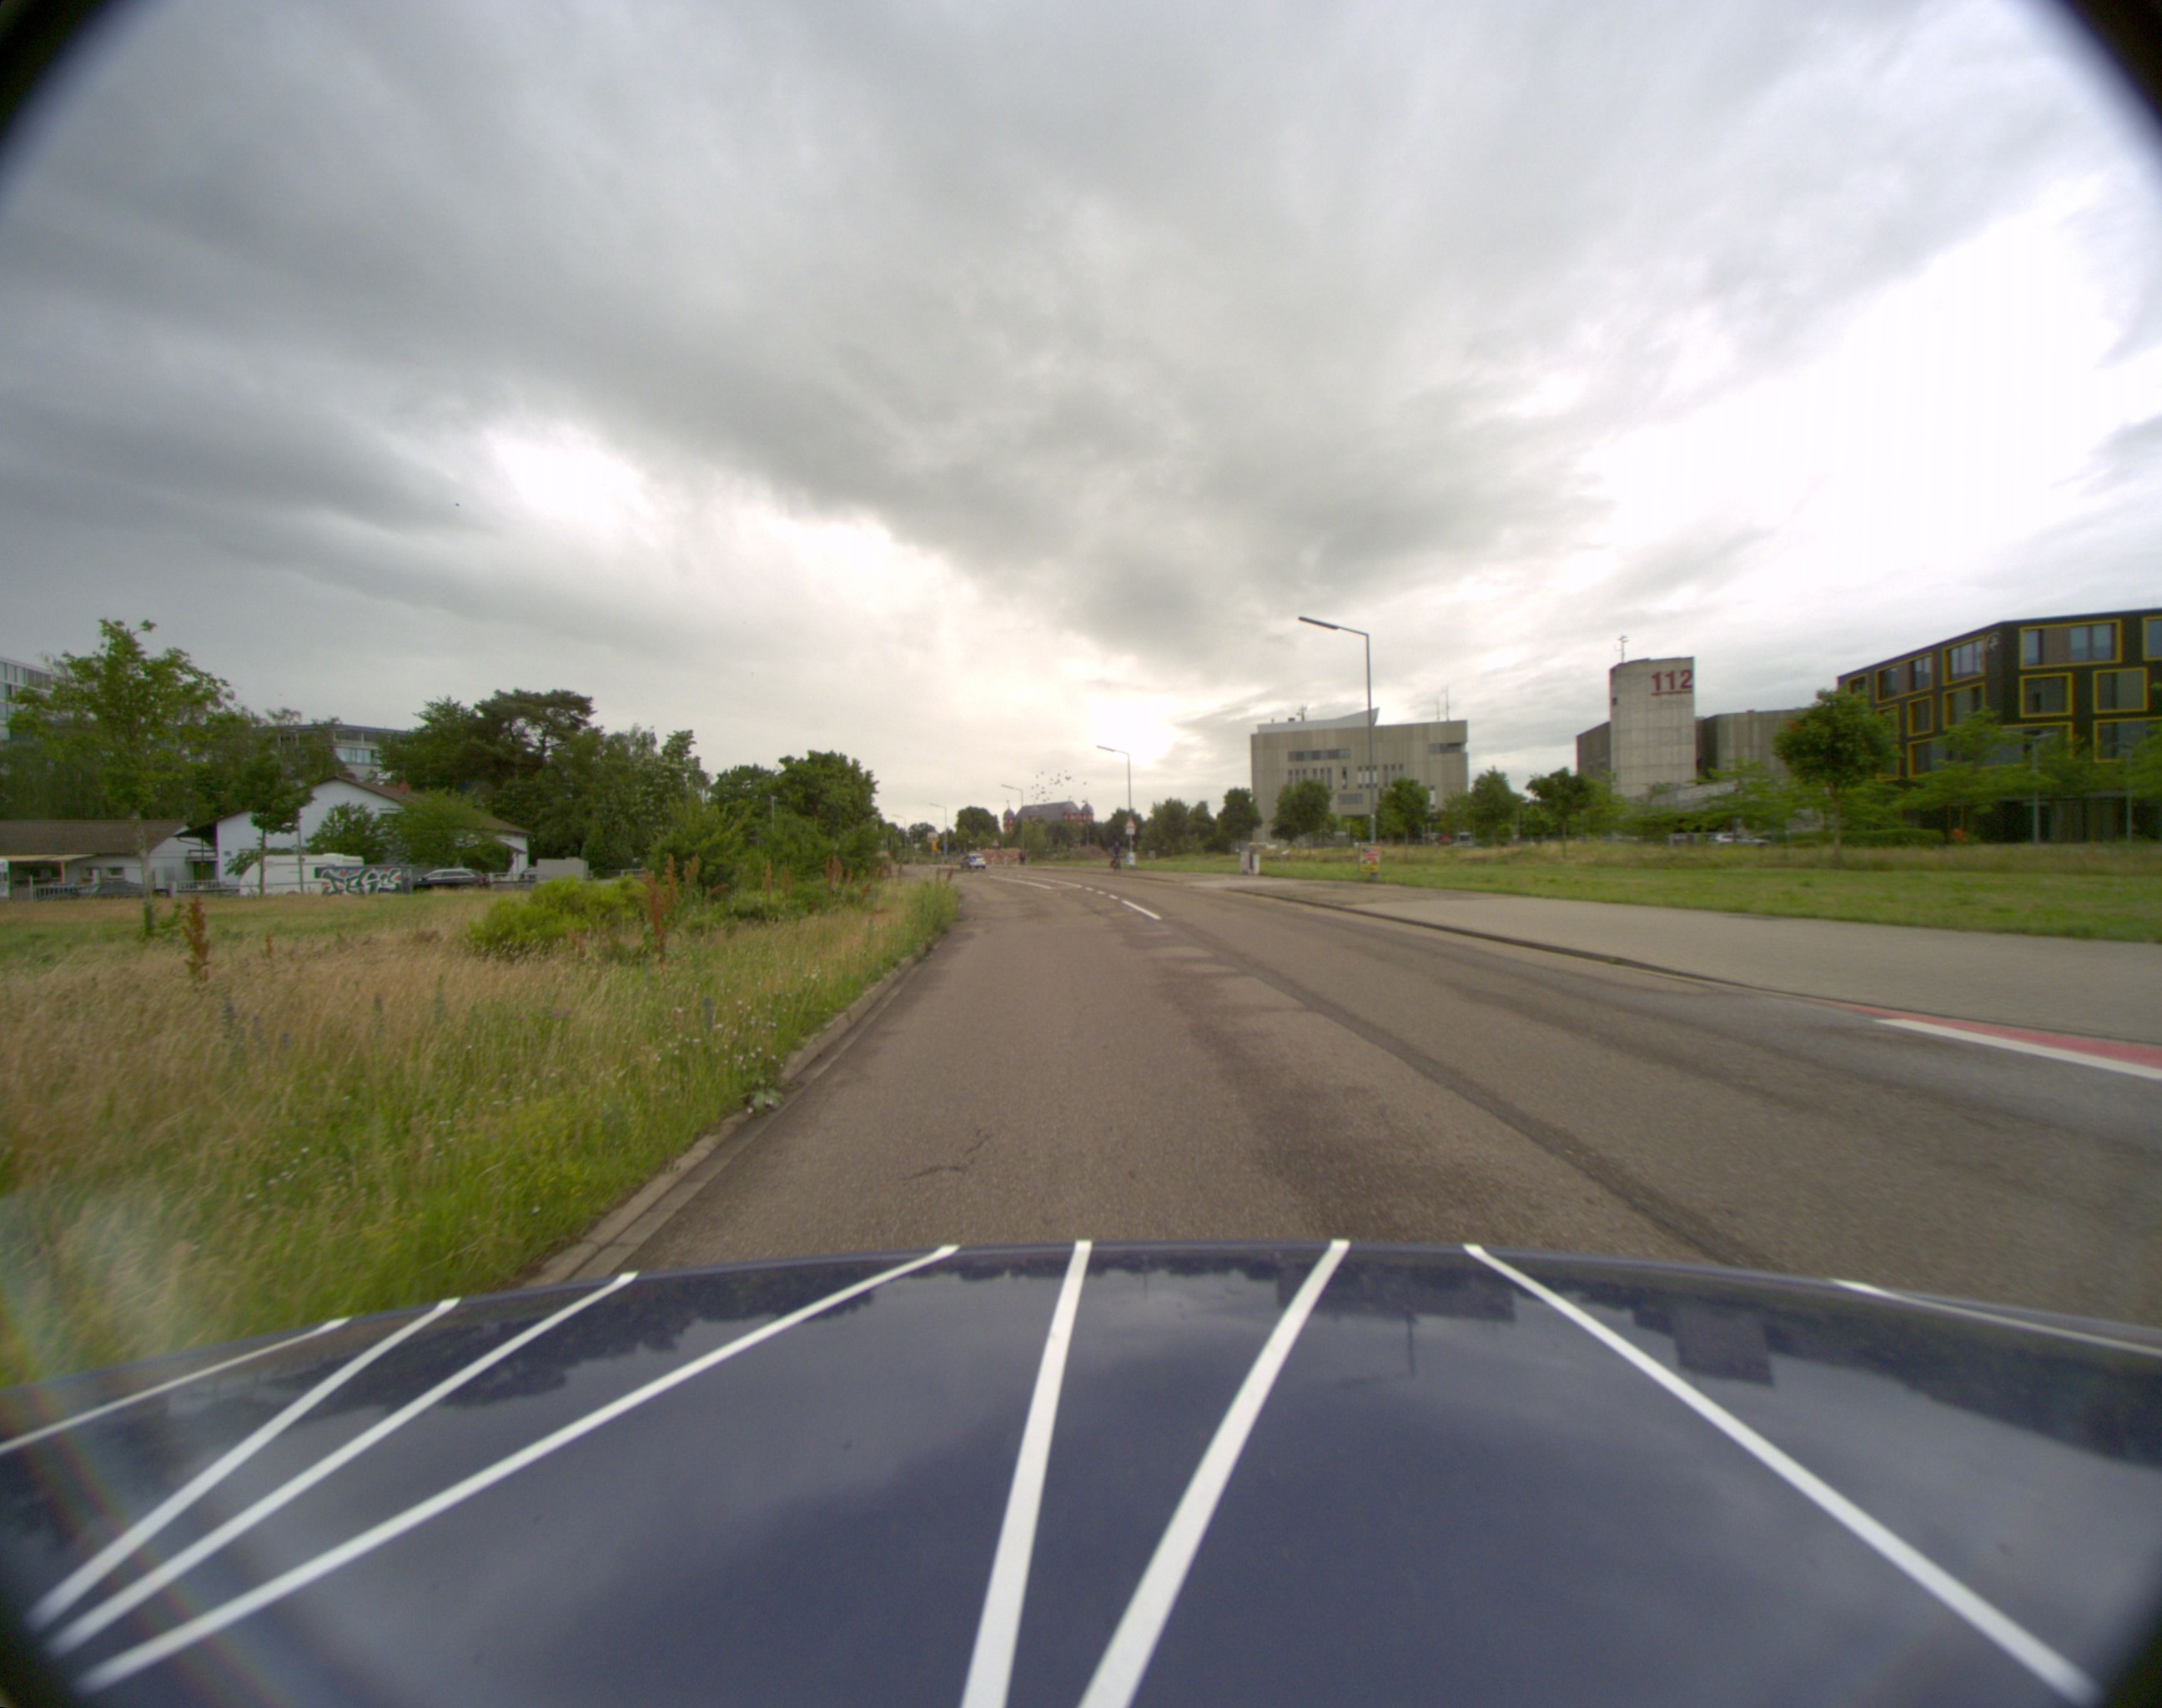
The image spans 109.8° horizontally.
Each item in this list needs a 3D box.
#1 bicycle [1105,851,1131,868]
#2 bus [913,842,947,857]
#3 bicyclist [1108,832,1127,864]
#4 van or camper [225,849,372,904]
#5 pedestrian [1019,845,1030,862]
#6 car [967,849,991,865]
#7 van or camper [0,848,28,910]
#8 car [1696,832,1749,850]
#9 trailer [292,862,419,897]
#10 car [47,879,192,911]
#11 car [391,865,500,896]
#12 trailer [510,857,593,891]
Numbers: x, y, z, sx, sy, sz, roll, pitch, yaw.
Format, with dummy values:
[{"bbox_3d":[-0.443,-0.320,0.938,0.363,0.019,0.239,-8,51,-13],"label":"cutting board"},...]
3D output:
[{"bbox_3d":[2.315,0.335,48.380,0.887,1.046,2.466,-2,0,-16],"label":"bicycle"},{"bbox_3d":[-43.943,-1.396,220.746,9.866,3.959,2.739,-2,0,24],"label":"bus"},{"bbox_3d":[2.315,-0.366,48.317,0.865,2.002,1.176,-2,0,-15],"label":"bicyclist"},{"bbox_3d":[-44.131,1.232,43.067,5.185,2.815,2.412,-2,0,-22],"label":"van or camper"},{"bbox_3d":[-6.049,-0.016,81.766,0.847,1.772,1.075,-2,0,-24],"label":"pedestrian"},{"bbox_3d":[-10.117,0.275,75.097,1.678,1.453,4.050,-4,1,-17],"label":"car"},{"bbox_3d":[-57.166,1.338,37.253,6.081,3.093,2.267,-2,0,-25],"label":"van or camper"},{"bbox_3d":[57.146,-1.138,67.807,1.996,1.514,4.004,0,0,13],"label":"car"},{"bbox_3d":[-35.523,1.237,37.357,4.125,1.524,1.755,-2,0,-26],"label":"trailer"},{"bbox_3d":[-50.516,2.115,40.036,4.296,1.377,1.909,-2,1,-24],"label":"car"},{"bbox_3d":[-37.961,1.571,45.577,4.599,1.630,1.996,-2,0,-24],"label":"car"},{"bbox_3d":[-33.443,1.230,48.082,4.004,2.002,1.640,-2,0,-24],"label":"trailer"}]
